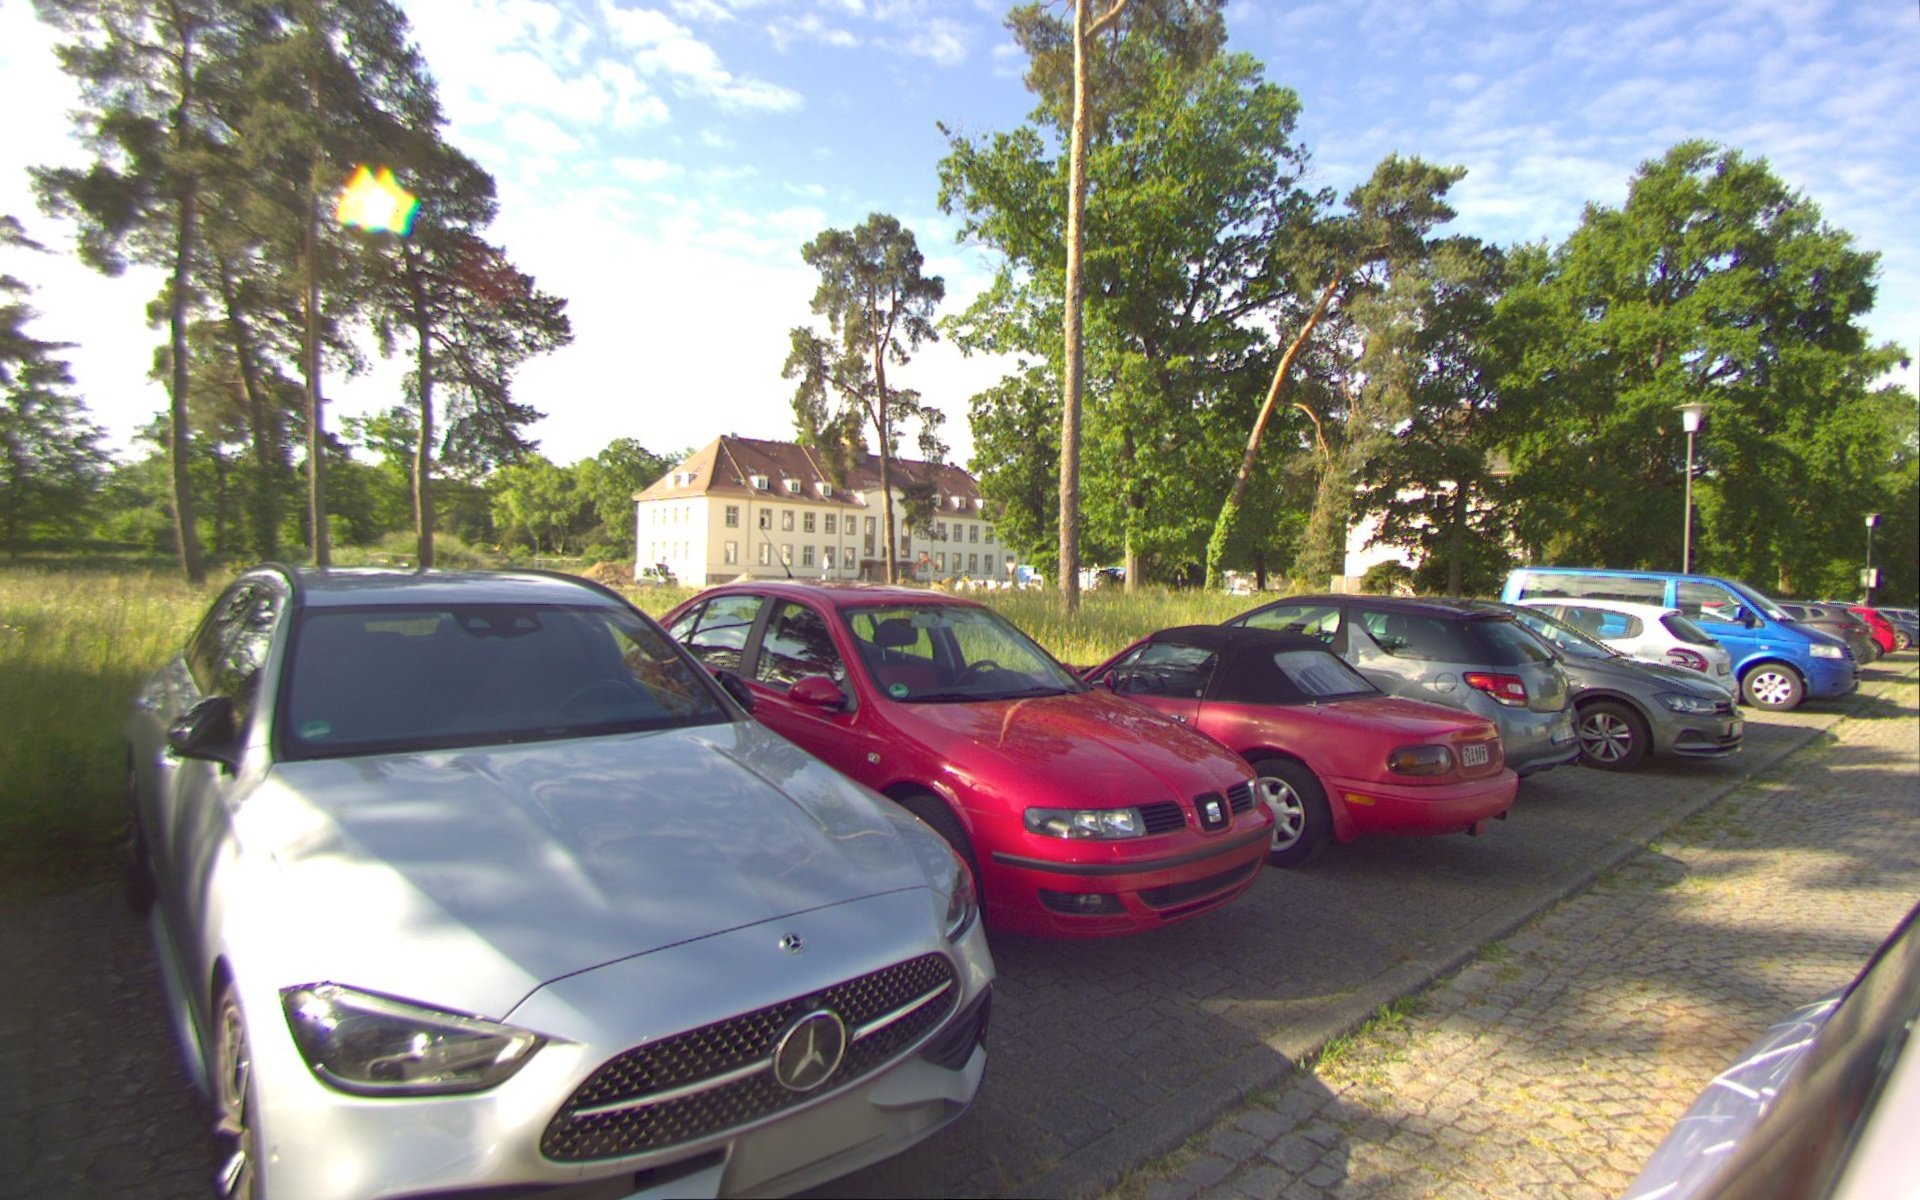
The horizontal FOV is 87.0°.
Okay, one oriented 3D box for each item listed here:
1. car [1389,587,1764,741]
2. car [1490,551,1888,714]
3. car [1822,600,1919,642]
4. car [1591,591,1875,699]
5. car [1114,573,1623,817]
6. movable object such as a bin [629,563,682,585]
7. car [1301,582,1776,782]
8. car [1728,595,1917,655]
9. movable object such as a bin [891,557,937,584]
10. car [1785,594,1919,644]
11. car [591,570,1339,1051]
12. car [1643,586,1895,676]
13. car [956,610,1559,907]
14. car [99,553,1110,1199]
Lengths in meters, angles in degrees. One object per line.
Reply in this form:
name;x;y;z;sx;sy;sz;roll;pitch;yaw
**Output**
car;7.499;0.662;12.561;1.606;1.510;3.651;1;2;-42
car;11.386;0.362;16.120;1.966;2.038;4.763;1;3;-42
car;35.879;0.790;39.037;1.717;1.484;3.806;0;1;-42
car;13.418;0.696;17.718;1.583;1.484;3.723;1;3;-45
car;3.312;0.609;8.715;1.638;1.472;3.669;1;3;-43
movable object such as a bin;-30.386;-2.583;100.856;5.708;2.038;2.094;3;2;38
car;5.668;0.650;10.273;1.727;1.468;3.789;1;3;-41
car;24.833;0.662;29.245;1.514;1.514;3.992;0;1;-43
movable object such as a bin;-5.340;-3.393;117.613;4.977;2.937;2.181;1;1;-36
car;32.297;0.643;36.072;1.623;1.618;4.268;0;1;-43
car;-0.308;0.653;5.332;1.628;1.466;3.985;0;2;-43
car;17.621;0.599;22.185;1.757;1.631;4.111;1;2;-44
car;1.694;0.763;6.559;1.510;1.258;3.466;0;1;-42
car;-1.777;0.620;3.633;1.759;1.405;4.405;0;3;-44
